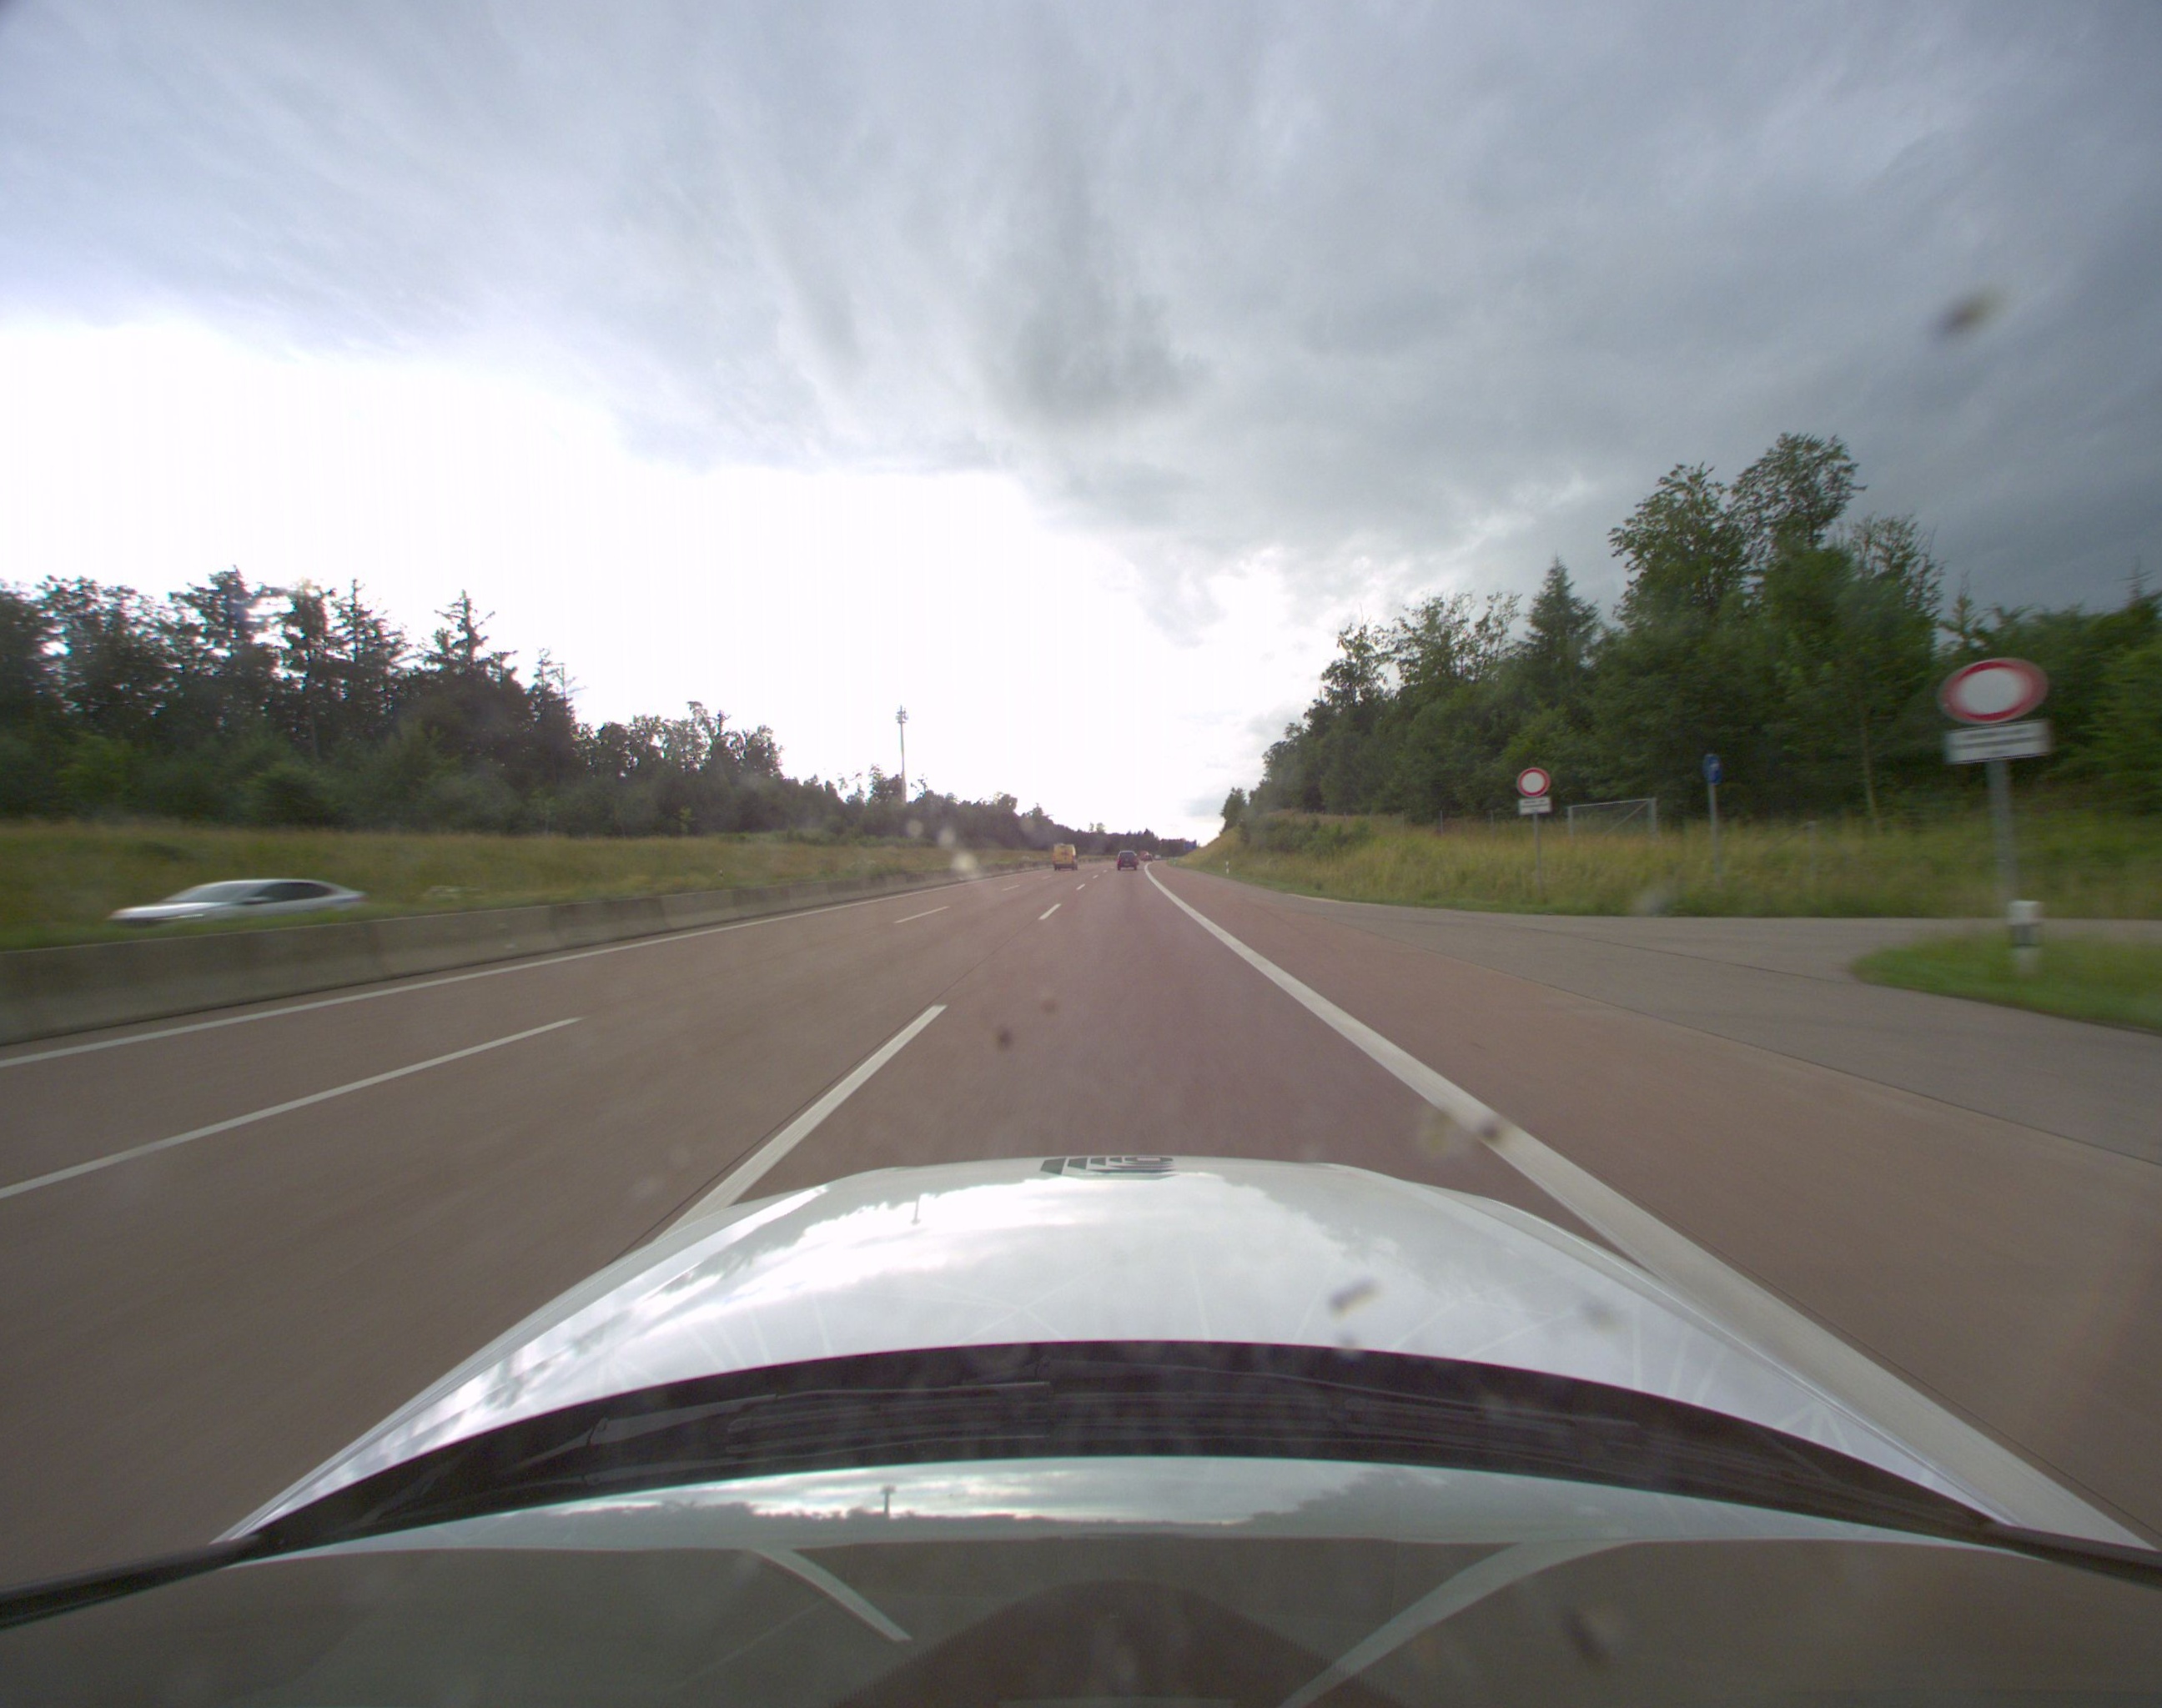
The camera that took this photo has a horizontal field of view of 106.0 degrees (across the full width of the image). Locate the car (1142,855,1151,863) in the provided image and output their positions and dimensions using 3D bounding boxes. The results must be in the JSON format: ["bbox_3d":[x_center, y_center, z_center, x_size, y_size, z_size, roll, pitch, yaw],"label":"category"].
[{"bbox_3d":[14.537,1.038,180.906,1.969,1.648,4.622,-2,-2,3],"label":"car"}]

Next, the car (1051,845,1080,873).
[{"bbox_3d":[-1.538,0.545,84.214,2.448,2.706,5.619,-2,-2,4],"label":"car"}]

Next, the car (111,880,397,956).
[{"bbox_3d":[-18.768,1.382,18.907,1.664,1.525,4.825,-1,-2,0],"label":"car"}]

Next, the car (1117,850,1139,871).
[{"bbox_3d":[4.610,0.680,79.837,2.036,1.897,5.580,-2,-2,3],"label":"car"}]

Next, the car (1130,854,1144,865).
[{"bbox_3d":[8.367,0.842,120.665,1.968,1.648,4.624,-1,-1,4],"label":"car"}]

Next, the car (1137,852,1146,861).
[{"bbox_3d":[17.528,0.878,236.262,2.229,2.430,6.214,-2,-1,6],"label":"car"}]
